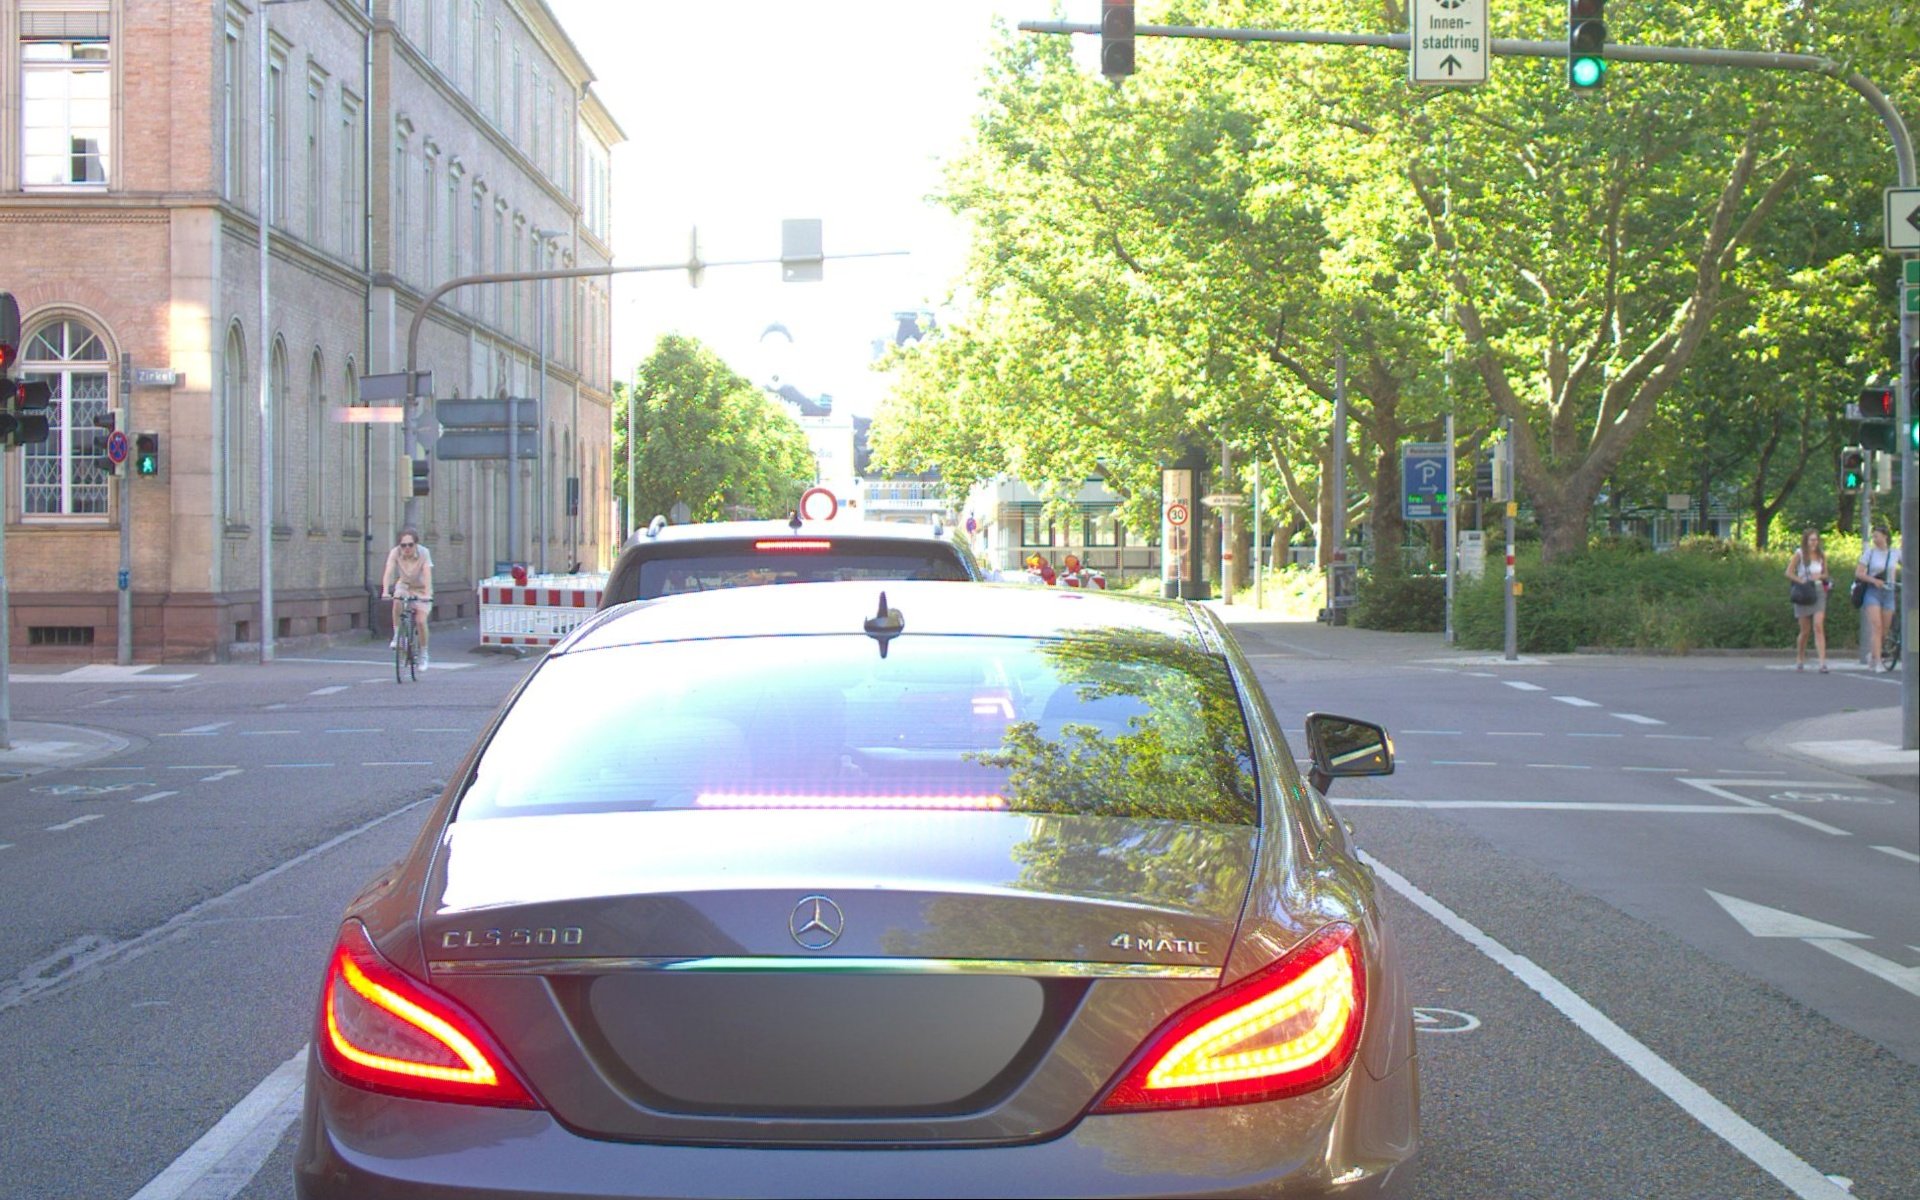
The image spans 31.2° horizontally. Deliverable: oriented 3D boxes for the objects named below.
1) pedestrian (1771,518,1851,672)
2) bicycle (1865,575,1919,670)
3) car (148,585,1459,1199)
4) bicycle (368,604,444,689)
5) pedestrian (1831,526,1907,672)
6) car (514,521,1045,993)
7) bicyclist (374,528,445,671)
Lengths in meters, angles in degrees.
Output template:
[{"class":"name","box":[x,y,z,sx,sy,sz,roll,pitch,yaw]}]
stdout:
[{"class":"pedestrian","box":[10.118,-0.054,40.900,0.732,1.802,0.909,-1,-1,2]},{"class":"bicycle","box":[11.126,0.254,40.715,0.524,1.096,1.741,1,1,6]},{"class":"car","box":[-0.035,0.704,7.072,1.843,1.424,4.516,1,1,5]},{"class":"bicycle","box":[-6.075,0.497,37.767,0.548,0.888,1.868,1,1,-1]},{"class":"pedestrian","box":[10.769,-0.015,40.749,0.683,1.691,0.970,1,0,5]},{"class":"car","box":[-0.581,0.517,13.733,1.809,1.607,4.000,0,1,1]},{"class":"bicyclist","box":[-6.066,-0.009,37.884,0.648,1.553,0.807,1,0,-1]}]
